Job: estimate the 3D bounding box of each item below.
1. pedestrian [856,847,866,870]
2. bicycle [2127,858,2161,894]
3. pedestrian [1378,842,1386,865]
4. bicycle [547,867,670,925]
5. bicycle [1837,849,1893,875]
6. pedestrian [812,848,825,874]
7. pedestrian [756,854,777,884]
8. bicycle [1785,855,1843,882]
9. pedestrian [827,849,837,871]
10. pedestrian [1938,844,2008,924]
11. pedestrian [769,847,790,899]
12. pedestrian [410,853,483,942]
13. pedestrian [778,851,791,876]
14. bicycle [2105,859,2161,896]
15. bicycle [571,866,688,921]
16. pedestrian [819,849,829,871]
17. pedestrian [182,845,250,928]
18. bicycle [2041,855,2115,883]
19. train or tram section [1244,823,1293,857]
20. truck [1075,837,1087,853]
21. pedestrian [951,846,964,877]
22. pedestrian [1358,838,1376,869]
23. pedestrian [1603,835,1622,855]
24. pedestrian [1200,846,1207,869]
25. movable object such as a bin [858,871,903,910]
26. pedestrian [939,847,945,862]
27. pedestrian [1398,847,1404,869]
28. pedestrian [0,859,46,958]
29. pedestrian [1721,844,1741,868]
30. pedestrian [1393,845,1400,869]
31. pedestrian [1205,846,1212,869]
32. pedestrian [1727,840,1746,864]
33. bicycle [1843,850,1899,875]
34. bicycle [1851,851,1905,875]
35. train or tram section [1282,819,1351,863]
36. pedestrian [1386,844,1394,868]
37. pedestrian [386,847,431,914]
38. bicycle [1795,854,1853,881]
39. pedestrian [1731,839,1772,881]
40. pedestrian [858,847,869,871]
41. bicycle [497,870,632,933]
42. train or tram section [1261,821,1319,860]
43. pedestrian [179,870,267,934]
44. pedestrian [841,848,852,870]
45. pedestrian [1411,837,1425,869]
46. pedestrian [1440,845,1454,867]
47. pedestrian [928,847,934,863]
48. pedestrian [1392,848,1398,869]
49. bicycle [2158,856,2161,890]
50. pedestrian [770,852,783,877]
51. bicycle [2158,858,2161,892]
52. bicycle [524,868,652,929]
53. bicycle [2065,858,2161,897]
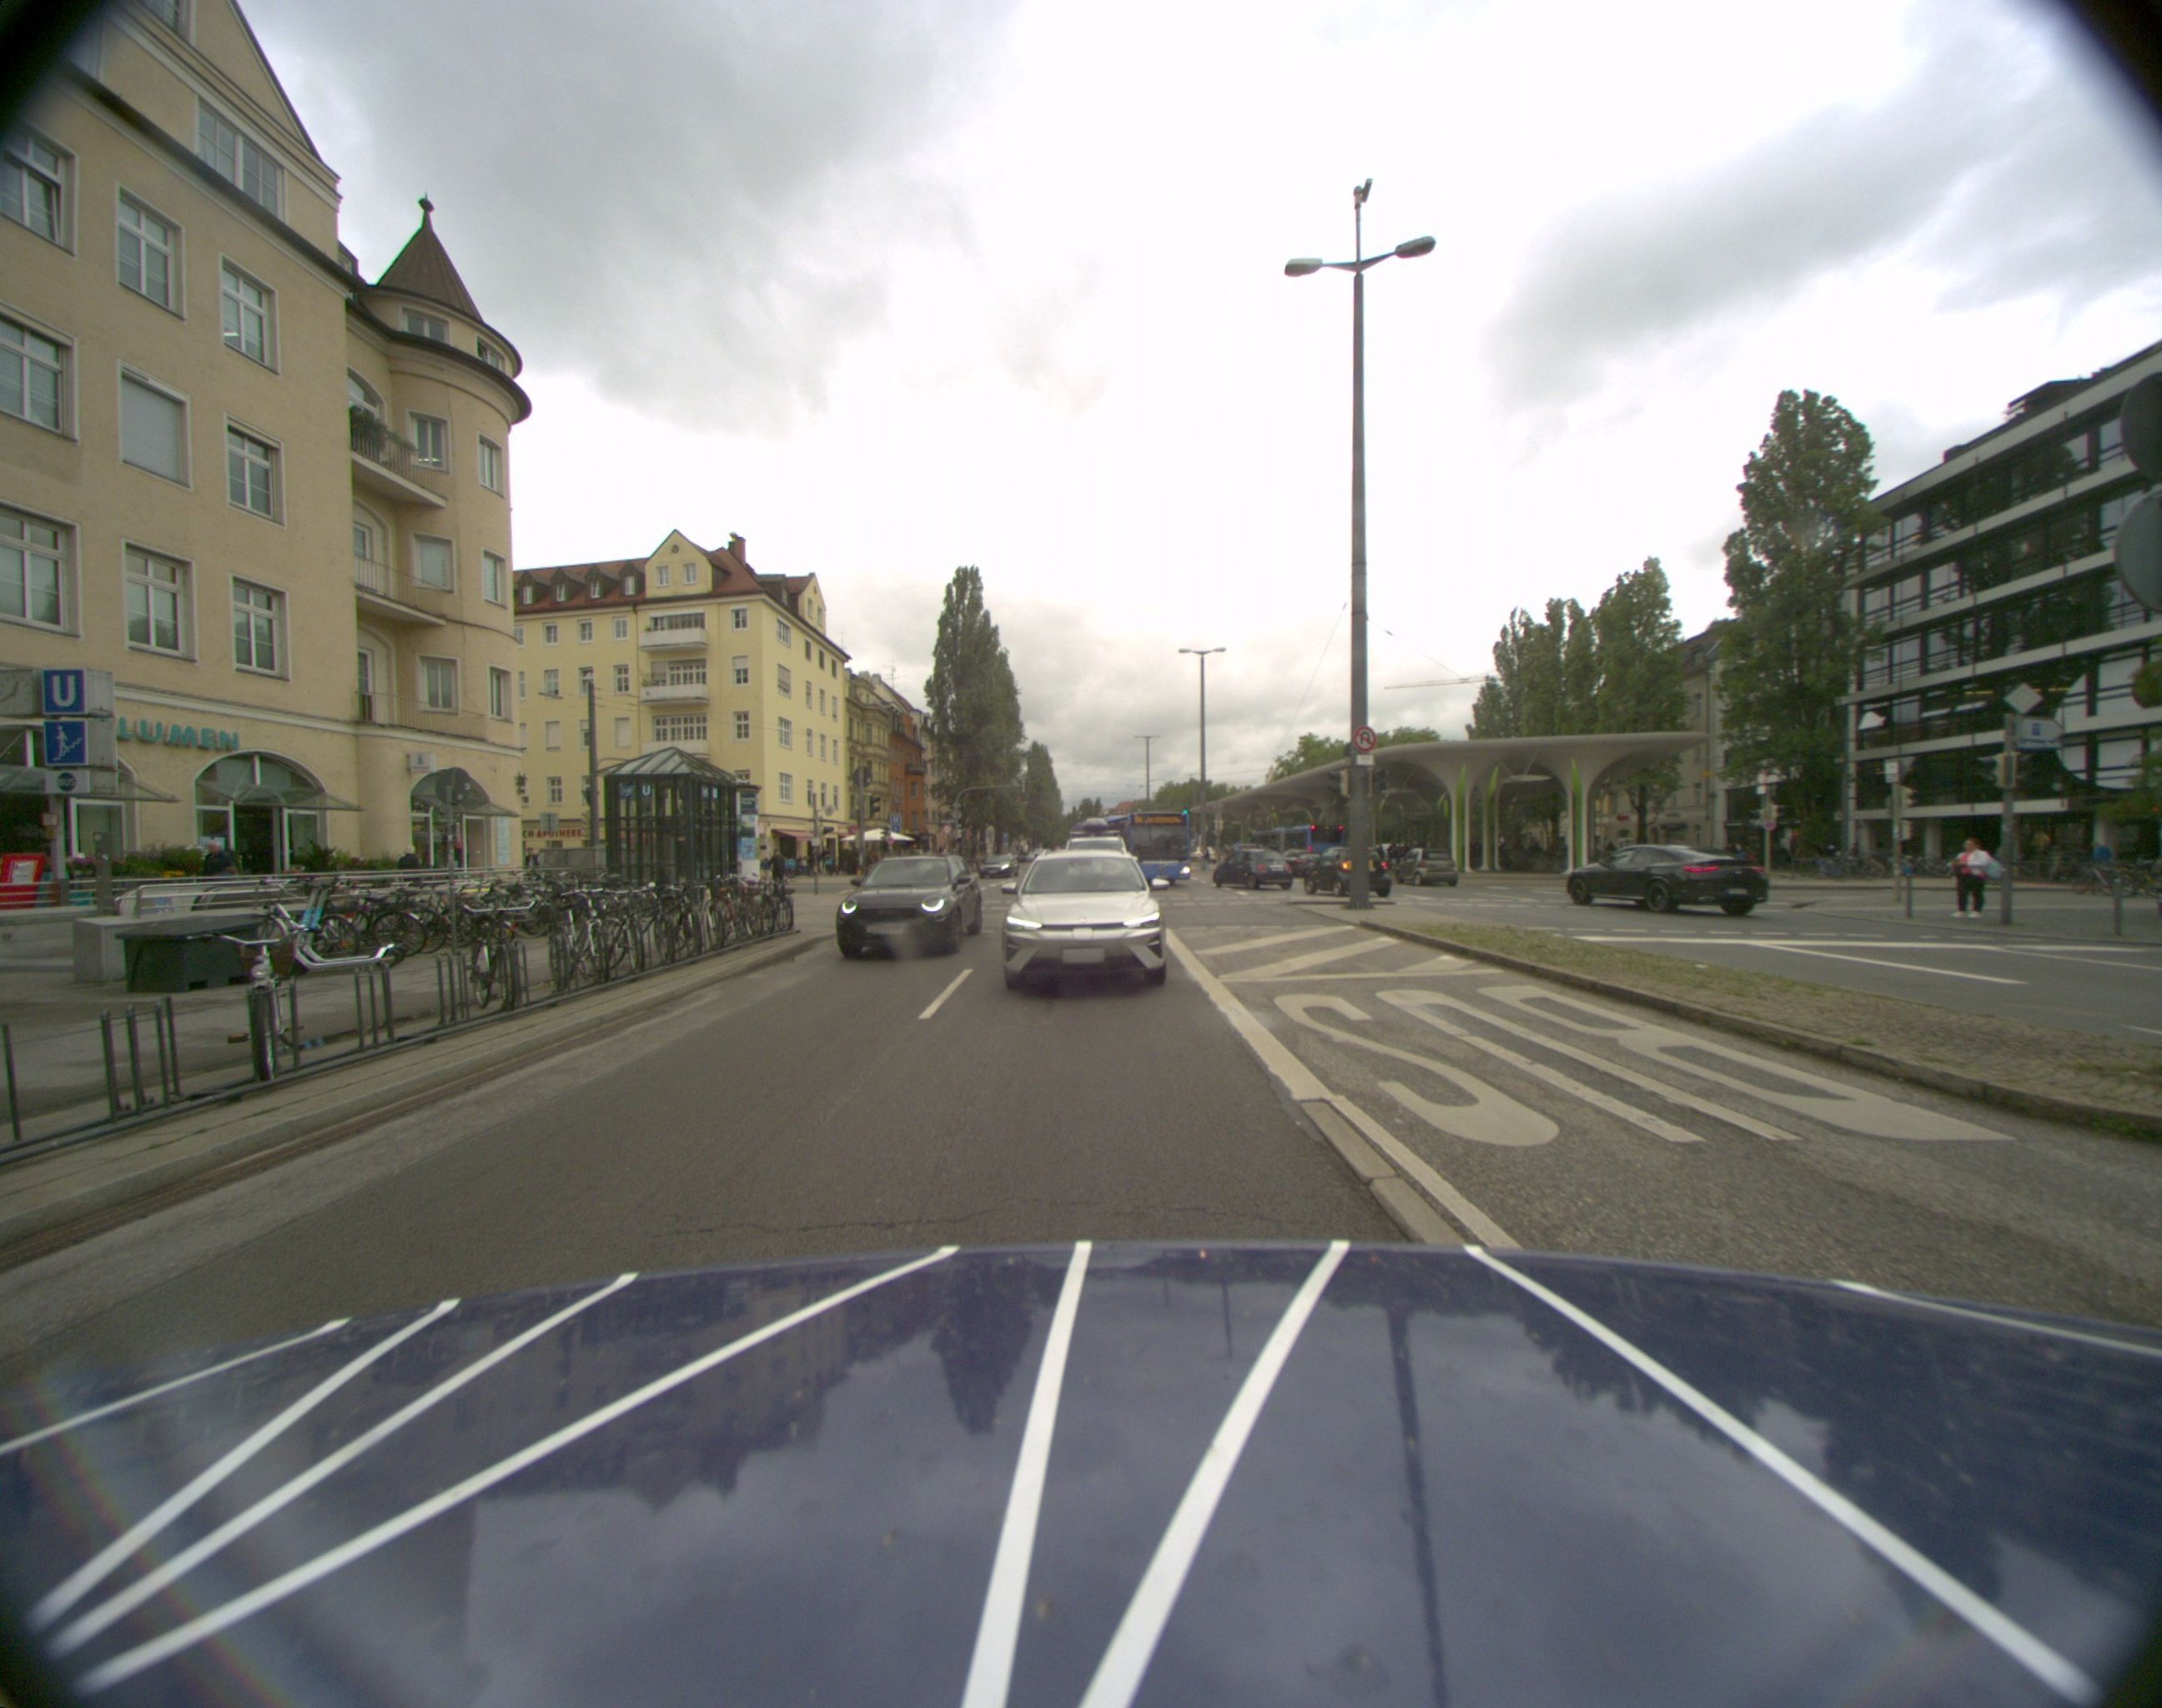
[{"bbox_3d":[-15.862,0.337,54.757,0.552,1.675,0.585,-1,1,2],"label":"pedestrian"},{"bbox_3d":[30.706,0.625,21.176,0.510,0.992,1.925,-1,1,2],"label":"bicycle"},{"bbox_3d":[19.118,-0.026,48.300,0.426,1.494,0.490,0,1,27],"label":"pedestrian"},{"bbox_3d":[-10.311,0.910,16.613,2.317,1.220,0.628,-1,1,4],"label":"bicycle"},{"bbox_3d":[34.768,0.340,33.720,0.473,1.091,1.672,-1,1,-23],"label":"bicycle"},{"bbox_3d":[-17.398,0.456,50.332,0.684,1.657,0.622,-1,1,-8],"label":"pedestrian"},{"bbox_3d":[-17.142,0.826,41.469,0.714,1.558,0.832,-2,2,1],"label":"pedestrian"},{"bbox_3d":[30.100,0.578,31.226,0.473,1.091,1.672,-1,1,-23],"label":"bicycle"},{"bbox_3d":[-17.259,0.390,52.609,0.529,1.517,0.585,-1,1,-9],"label":"pedestrian"},{"bbox_3d":[17.987,0.575,15.330,0.640,1.543,0.759,-3,2,-24],"label":"pedestrian"},{"bbox_3d":[-10.593,0.655,26.684,0.641,1.767,0.609,-2,2,-22],"label":"pedestrian"},{"bbox_3d":[-12.564,0.838,15.064,0.809,1.682,0.755,-1,1,-12],"label":"pedestrian"},{"bbox_3d":[-18.187,0.593,46.609,0.528,1.517,0.585,-1,1,2],"label":"pedestrian"},{"bbox_3d":[30.072,0.650,21.167,0.510,0.992,1.925,-1,1,2],"label":"bicycle"},{"bbox_3d":[-10.277,0.893,17.330,2.317,1.220,0.628,-1,1,4],"label":"bicycle"},{"bbox_3d":[-17.777,0.411,52.536,0.529,1.517,0.585,-1,1,-9],"label":"pedestrian"},{"bbox_3d":[-18.502,0.674,16.262,0.618,1.729,0.644,-1,3,0],"label":"pedestrian"},{"bbox_3d":[40.859,0.628,31.150,2.073,1.127,0.561,0,1,7],"label":"bicycle"},{"bbox_3d":[17.222,-1.259,70.206,2.840,2.984,7.407,-1,1,1],"label":"train or tram section"},{"bbox_3d":[0.071,-1.982,172.475,2.540,3.468,7.751,0,1,1],"label":"truck"},{"bbox_3d":[-7.443,0.444,45.938,0.732,1.792,0.710,-1,3,-8],"label":"pedestrian"},{"bbox_3d":[16.492,-0.026,43.847,0.711,1.738,0.788,0,1,0],"label":"pedestrian"},{"bbox_3d":[45.744,-0.769,65.375,0.984,1.762,0.951,-1,1,-23],"label":"pedestrian"},{"bbox_3d":[7.572,0.229,46.976,0.357,1.411,0.380,-1,1,1],"label":"pedestrian"},{"bbox_3d":[-5.702,1.033,21.630,1.089,1.056,0.747,1,2,-2],"label":"movable object such as a bin"},{"bbox_3d":[-15.630,0.036,85.589,0.552,1.675,0.585,0,1,2],"label":"pedestrian"},{"bbox_3d":[20.074,0.235,47.665,0.303,1.369,0.270,0,1,-1],"label":"pedestrian"},{"bbox_3d":[-17.296,0.860,12.158,0.566,1.533,0.590,-1,3,0],"label":"pedestrian"},{"bbox_3d":[45.580,0.138,53.257,0.834,1.689,0.906,0,1,23],"label":"pedestrian"},{"bbox_3d":[19.931,0.208,48.019,0.334,1.494,0.317,-1,1,-8],"label":"pedestrian"},{"bbox_3d":[7.795,0.229,46.606,0.357,1.411,0.380,-1,1,1],"label":"pedestrian"},{"bbox_3d":[48.817,-0.149,56.581,0.799,1.714,0.827,0,1,12],"label":"pedestrian"},{"bbox_3d":[35.572,0.389,34.234,0.474,1.091,1.671,-1,1,-33],"label":"bicycle"},{"bbox_3d":[36.634,0.401,34.944,0.474,1.091,1.671,-1,1,-33],"label":"bicycle"},{"bbox_3d":[16.976,-0.922,55.407,2.840,2.984,7.407,-1,1,1],"label":"train or tram section"},{"bbox_3d":[19.564,0.106,48.115,0.320,1.494,0.317,-1,1,-8],"label":"pedestrian"},{"bbox_3d":[-17.241,0.671,19.488,0.566,1.691,0.590,-1,3,0],"label":"pedestrian"},{"bbox_3d":[30.834,0.542,31.566,0.473,1.091,1.672,-1,1,-23],"label":"bicycle"},{"bbox_3d":[28.562,0.245,32.383,0.861,1.767,0.980,-1,1,2],"label":"pedestrian"},{"bbox_3d":[-15.422,0.340,53.964,0.552,1.675,0.585,-1,1,2],"label":"pedestrian"},{"bbox_3d":[-10.396,0.943,15.318,2.317,1.220,0.628,-1,1,4],"label":"bicycle"},{"bbox_3d":[17.107,-1.090,62.801,2.840,2.984,7.407,-1,1,1],"label":"train or tram section"},{"bbox_3d":[-17.703,0.978,15.707,0.701,1.238,0.919,-1,2,0],"label":"pedestrian"},{"bbox_3d":[-17.820,0.368,57.748,0.552,1.675,0.585,-1,1,2],"label":"pedestrian"},{"bbox_3d":[19.452,-0.057,43.846,0.666,1.840,0.789,0,1,21],"label":"pedestrian"},{"bbox_3d":[22.355,0.124,46.425,0.549,1.330,0.592,-1,1,0],"label":"pedestrian"},{"bbox_3d":[-16.650,0.103,84.342,0.552,1.675,0.585,0,1,2],"label":"pedestrian"},{"bbox_3d":[19.696,0.287,47.627,0.316,1.335,0.339,0,1,18],"label":"pedestrian"},{"bbox_3d":[31.973,0.570,21.417,0.510,0.992,1.925,-1,1,2],"label":"bicycle"},{"bbox_3d":[-18.693,0.613,46.605,0.528,1.517,0.585,-1,1,2],"label":"pedestrian"},{"bbox_3d":[31.248,0.610,20.903,0.510,0.992,1.925,-1,1,2],"label":"bicycle"},{"bbox_3d":[-10.326,0.926,15.950,2.317,1.220,0.628,-1,1,4],"label":"bicycle"},{"bbox_3d":[28.895,0.634,21.255,0.510,0.992,1.751,-1,1,2],"label":"bicycle"}]
